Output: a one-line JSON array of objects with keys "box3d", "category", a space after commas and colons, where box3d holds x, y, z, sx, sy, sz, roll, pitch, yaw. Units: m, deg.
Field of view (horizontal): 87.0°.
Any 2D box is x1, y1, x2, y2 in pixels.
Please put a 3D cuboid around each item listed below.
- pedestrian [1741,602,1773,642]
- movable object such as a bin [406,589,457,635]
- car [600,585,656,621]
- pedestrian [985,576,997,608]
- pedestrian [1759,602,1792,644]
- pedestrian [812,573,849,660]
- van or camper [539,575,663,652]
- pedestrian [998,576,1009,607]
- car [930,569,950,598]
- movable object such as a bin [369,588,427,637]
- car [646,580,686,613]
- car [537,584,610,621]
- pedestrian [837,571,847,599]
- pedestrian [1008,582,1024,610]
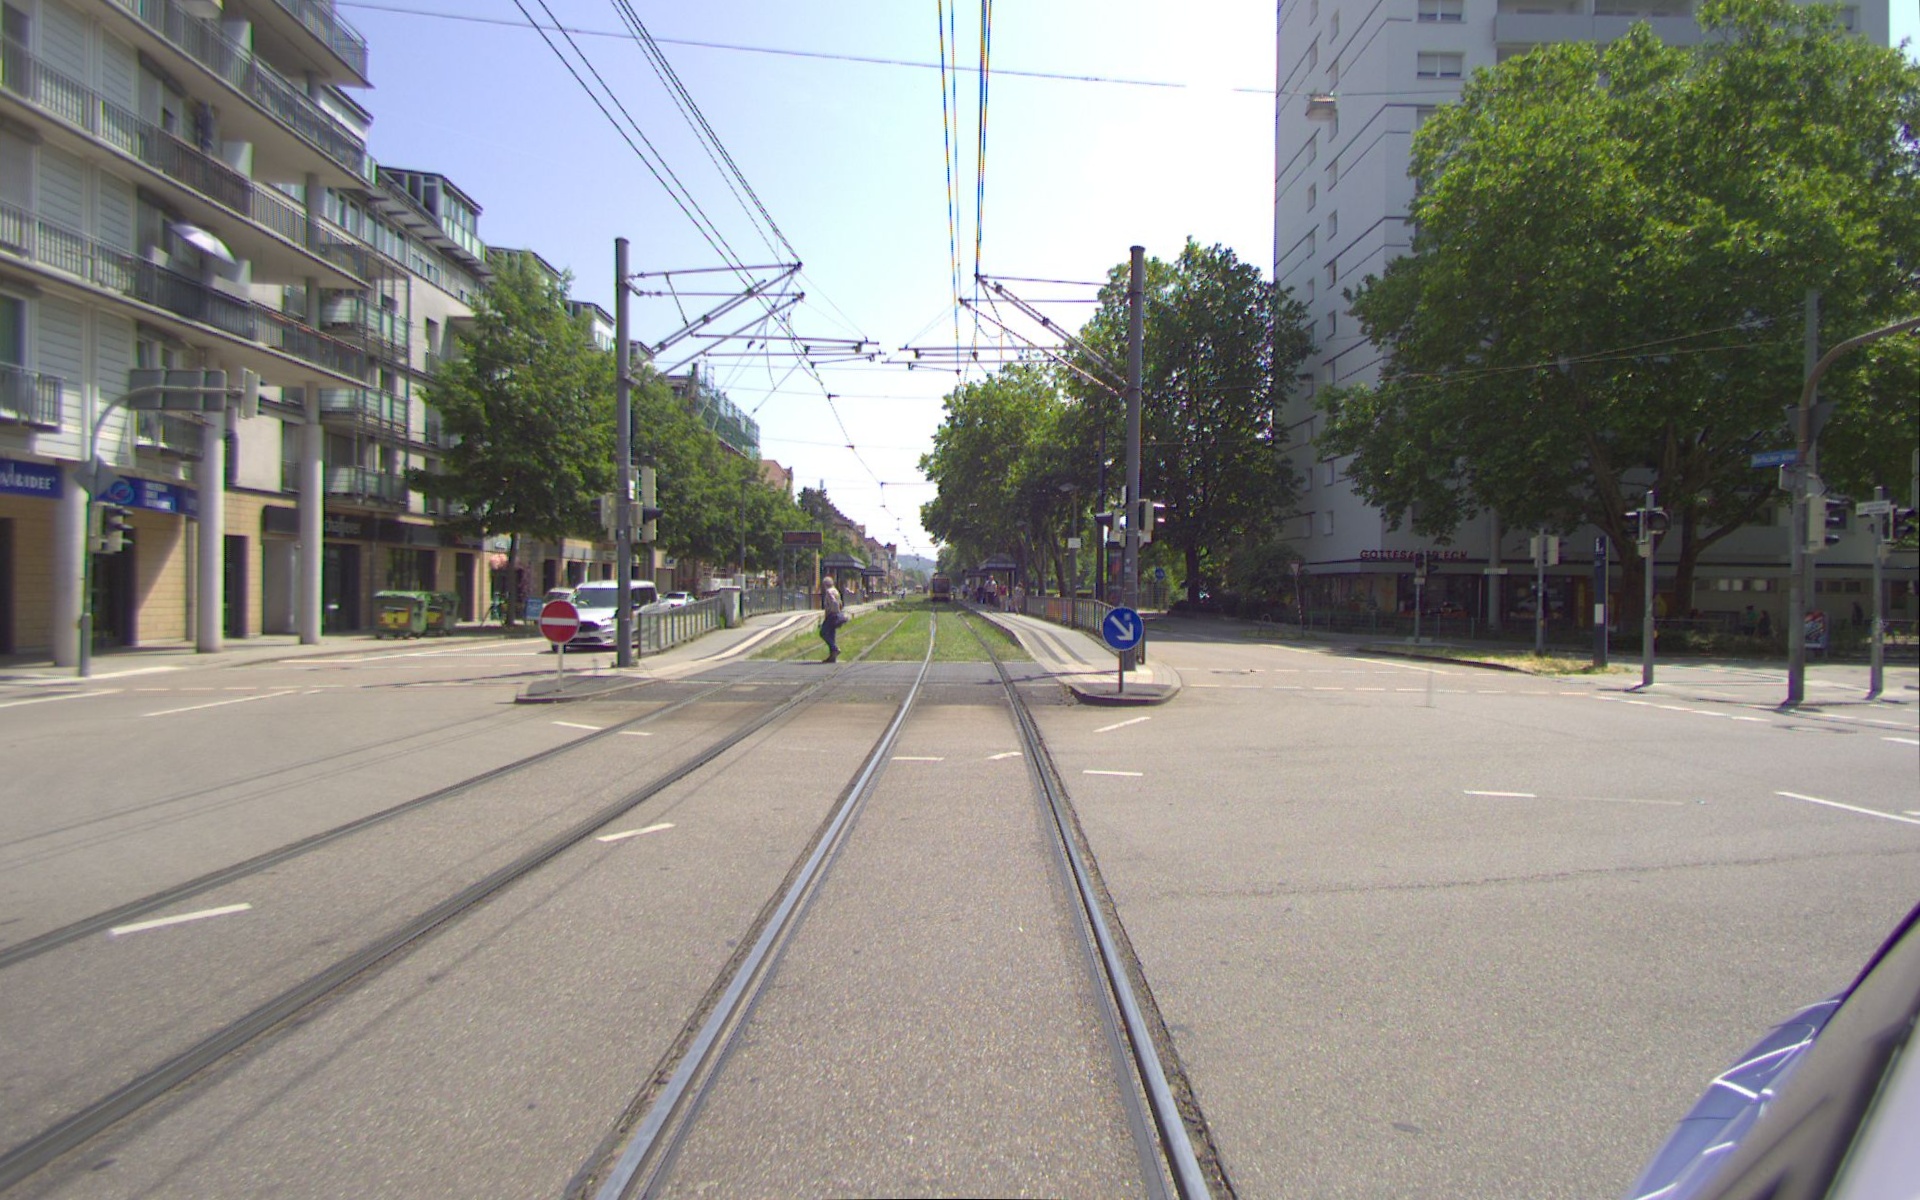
[{"box3d": [27.812, 0.767, 35.310, 0.627, 1.382, 0.594, 1, 0, -6], "category": "pedestrian"}, {"box3d": [-17.110, 0.388, 32.810, 1.190, 1.454, 1.010, 0, 1, -7], "category": "movable object such as a bin"}, {"box3d": [-17.619, 0.131, 53.856, 1.960, 1.794, 4.004, 0, 1, -4], "category": "car"}, {"box3d": [1.550, -0.408, 51.064, 0.543, 1.626, 0.680, 0, 1, -2], "category": "pedestrian"}, {"box3d": [27.860, 0.782, 34.561, 0.627, 1.382, 0.594, 1, 0, -6], "category": "pedestrian"}, {"box3d": [-2.601, 0.331, 20.396, 0.667, 1.727, 0.553, 0, 1, 2], "category": "pedestrian"}, {"box3d": [-9.288, 0.276, 26.586, 1.733, 1.780, 4.596, -2, 1, -2], "category": "van or camper"}, {"box3d": [2.240, -0.433, 52.484, 0.536, 1.600, 0.515, 0, 1, -2], "category": "pedestrian"}, {"box3d": [-2.463, -2.096, 126.343, 2.232, 3.380, 12.037, 1, 1, -1], "category": "car"}, {"box3d": [-17.061, 0.367, 30.745, 1.192, 1.454, 1.008, 0, 1, 2], "category": "movable object such as a bin"}, {"box3d": [-18.669, -0.235, 64.369, 1.959, 2.039, 4.007, 0, 1, -9], "category": "car"}, {"box3d": [-16.878, 0.080, 44.385, 1.960, 1.550, 4.004, 0, 1, -4], "category": "car"}, {"box3d": [-6.996, -0.905, 60.217, 0.540, 1.626, 0.554, 0, 1, -2], "category": "pedestrian"}, {"box3d": [2.684, -0.195, 48.624, 0.666, 1.366, 0.632, 0, 1, -2], "category": "pedestrian"}]
